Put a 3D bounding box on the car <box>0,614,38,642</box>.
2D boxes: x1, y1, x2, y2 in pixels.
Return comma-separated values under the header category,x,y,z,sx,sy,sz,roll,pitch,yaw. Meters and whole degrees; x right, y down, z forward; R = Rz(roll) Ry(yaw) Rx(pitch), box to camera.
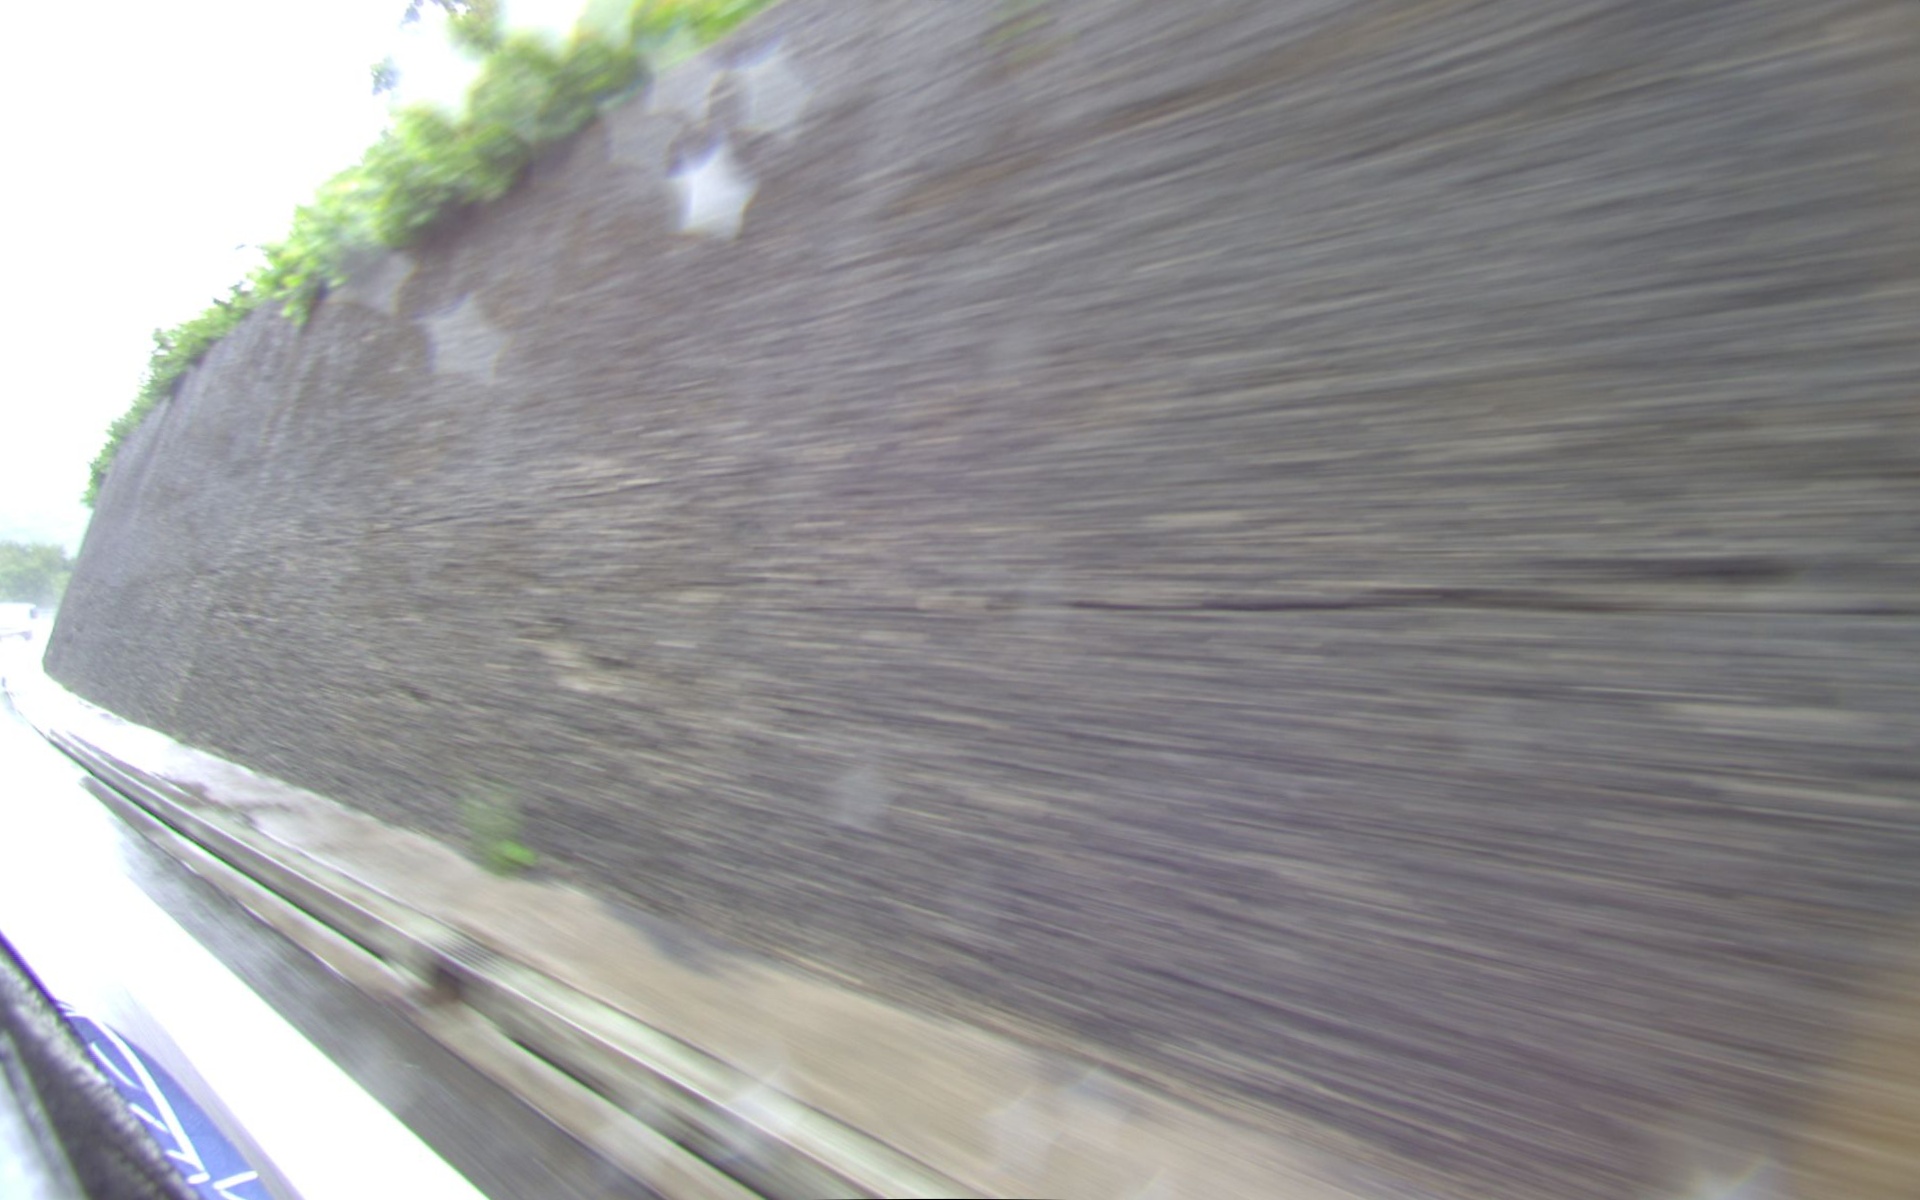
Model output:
category,x,y,z,sx,sy,sz,roll,pitch,yaw
car,-51.996,1.523,55.255,1.798,1.393,4.011,-3,1,-33
